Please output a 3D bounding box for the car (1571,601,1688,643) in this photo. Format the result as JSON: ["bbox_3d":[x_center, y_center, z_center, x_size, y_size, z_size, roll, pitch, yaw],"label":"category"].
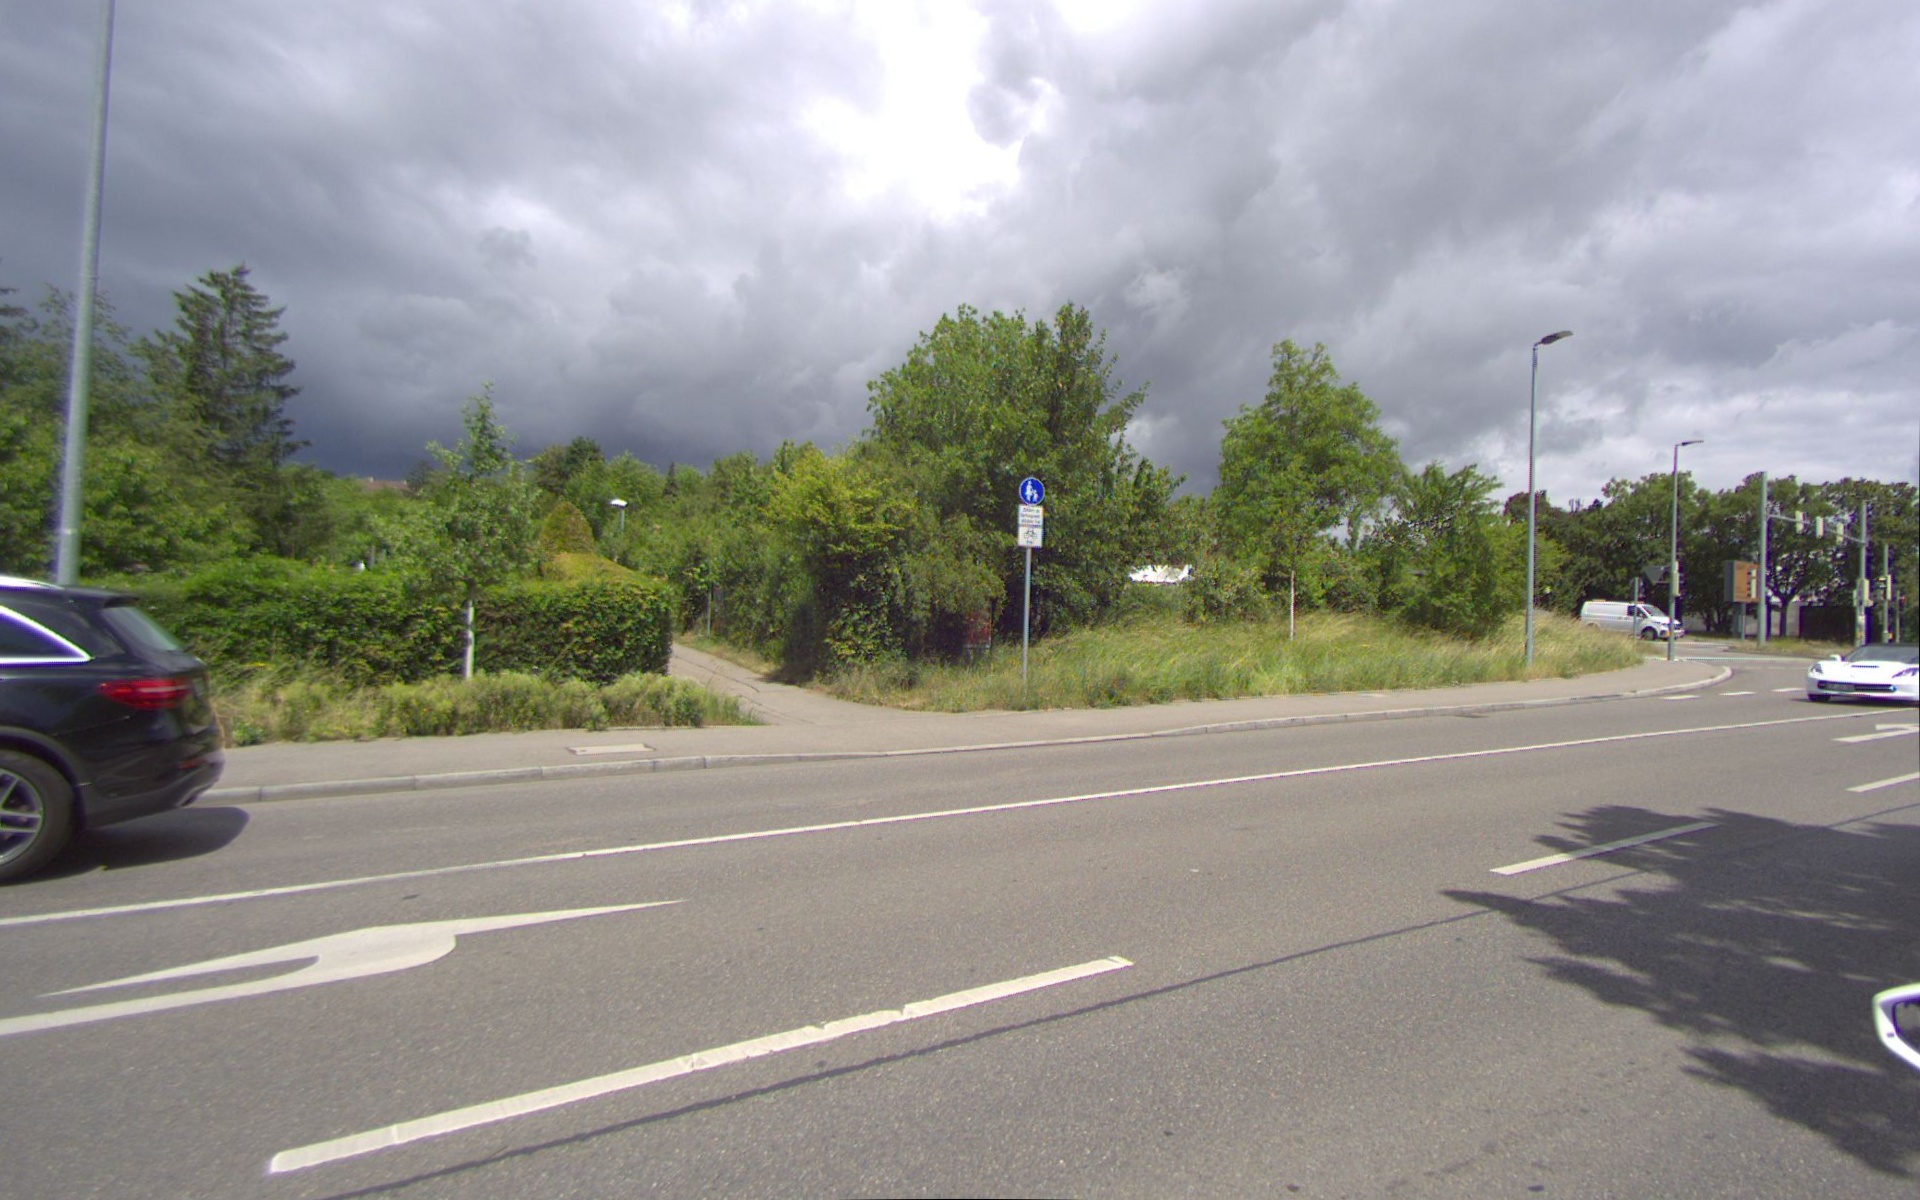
[{"bbox_3d":[36.709,1.175,55.217,1.888,1.963,4.930,2,2,-30],"label":"car"}]

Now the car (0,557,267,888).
[{"bbox_3d":[-6.403,0.612,5.210,4.482,1.676,1.811,2,-2,-32],"label":"car"}]

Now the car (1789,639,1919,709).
[{"bbox_3d":[19.393,1.496,20.948,4.557,1.308,1.895,2,-2,-32],"label":"car"}]
